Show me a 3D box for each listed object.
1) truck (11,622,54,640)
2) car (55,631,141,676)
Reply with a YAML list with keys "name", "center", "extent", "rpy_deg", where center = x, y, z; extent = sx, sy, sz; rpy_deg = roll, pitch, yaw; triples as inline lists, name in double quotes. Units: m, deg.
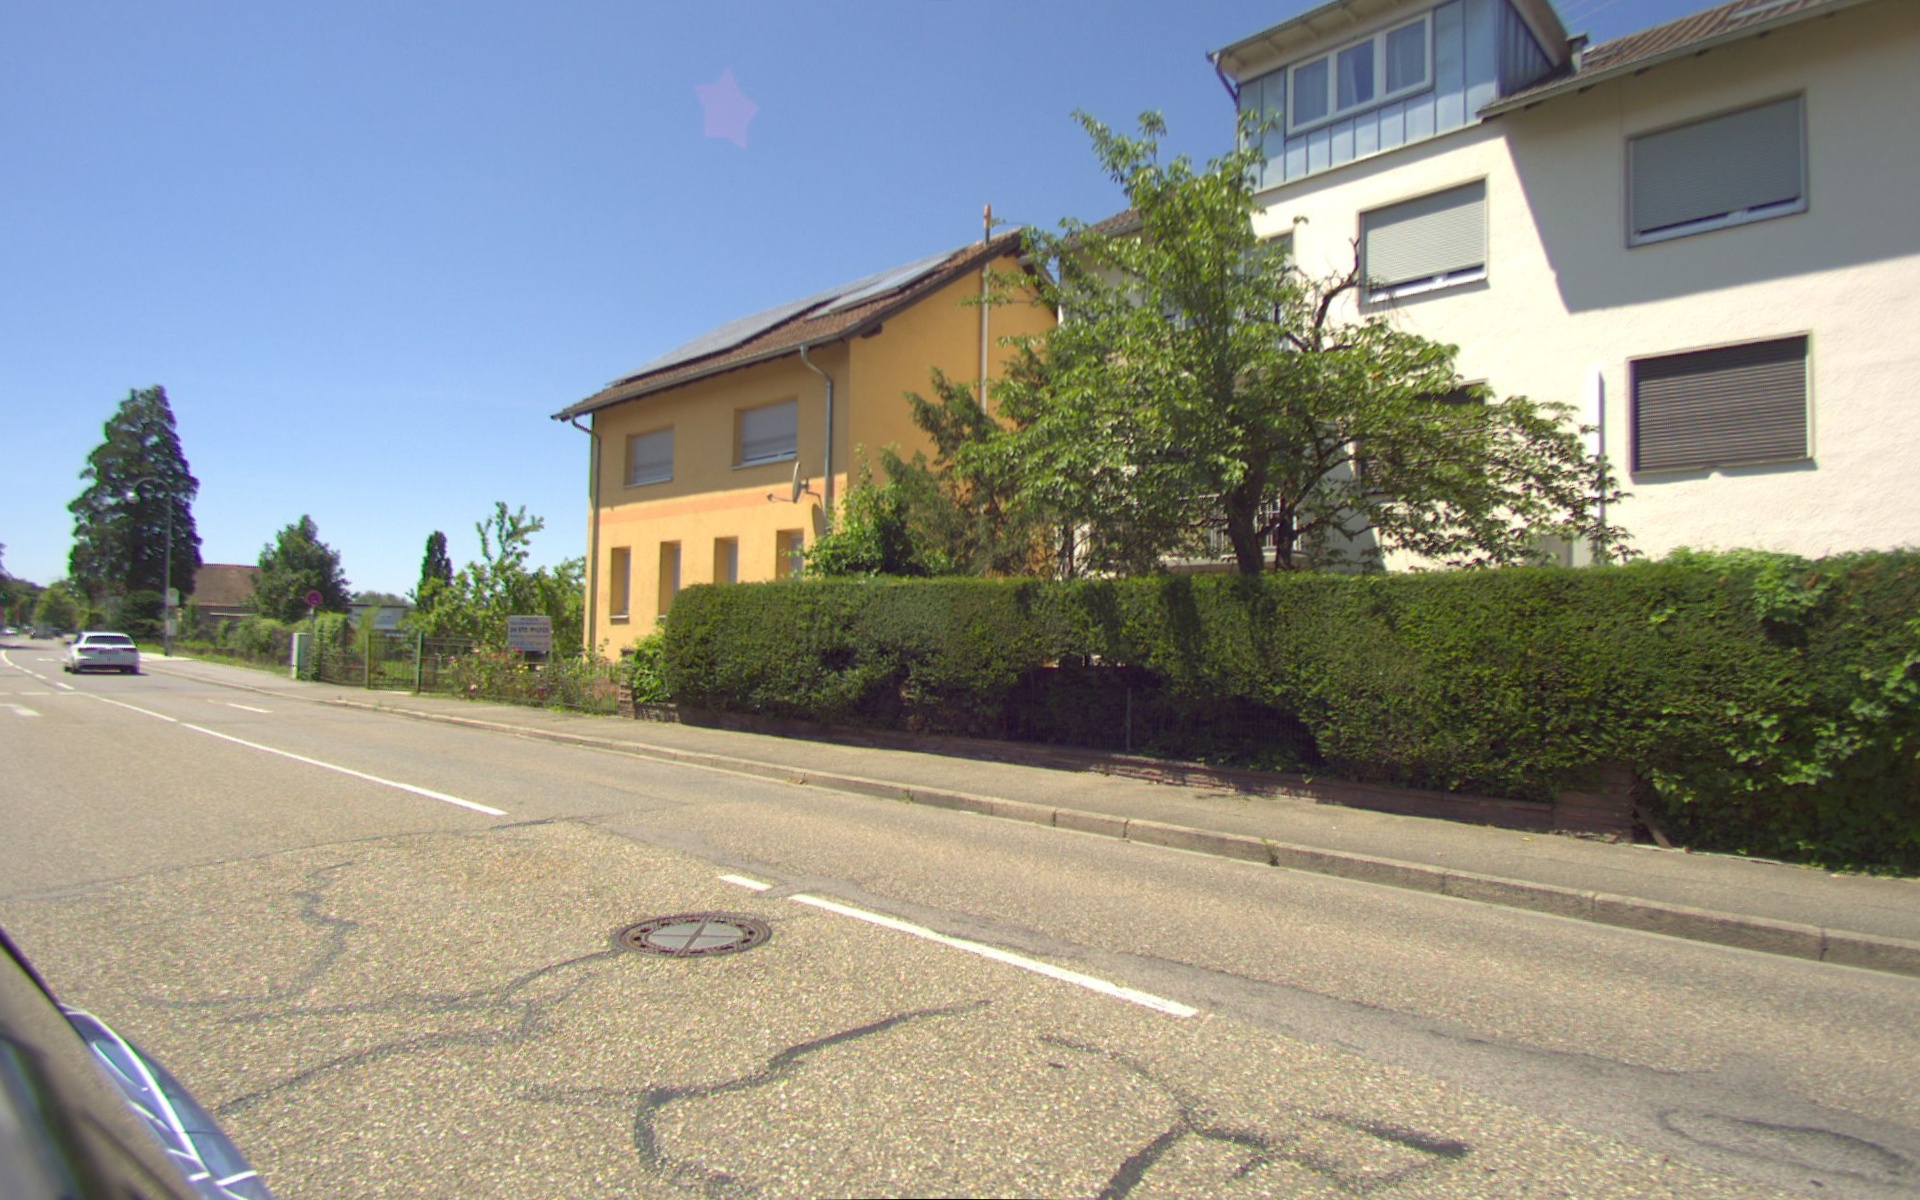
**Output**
- name: "truck"
  center: [-125.366, 4.211, 136.792]
  extent: [6.234, 2.258, 2.597]
  rpy_deg: [-1, -4, 31]
- name: "car"
  center: [-29.421, 1.816, 34.508]
  extent: [4.206, 1.383, 1.662]
  rpy_deg: [-2, -6, 43]
